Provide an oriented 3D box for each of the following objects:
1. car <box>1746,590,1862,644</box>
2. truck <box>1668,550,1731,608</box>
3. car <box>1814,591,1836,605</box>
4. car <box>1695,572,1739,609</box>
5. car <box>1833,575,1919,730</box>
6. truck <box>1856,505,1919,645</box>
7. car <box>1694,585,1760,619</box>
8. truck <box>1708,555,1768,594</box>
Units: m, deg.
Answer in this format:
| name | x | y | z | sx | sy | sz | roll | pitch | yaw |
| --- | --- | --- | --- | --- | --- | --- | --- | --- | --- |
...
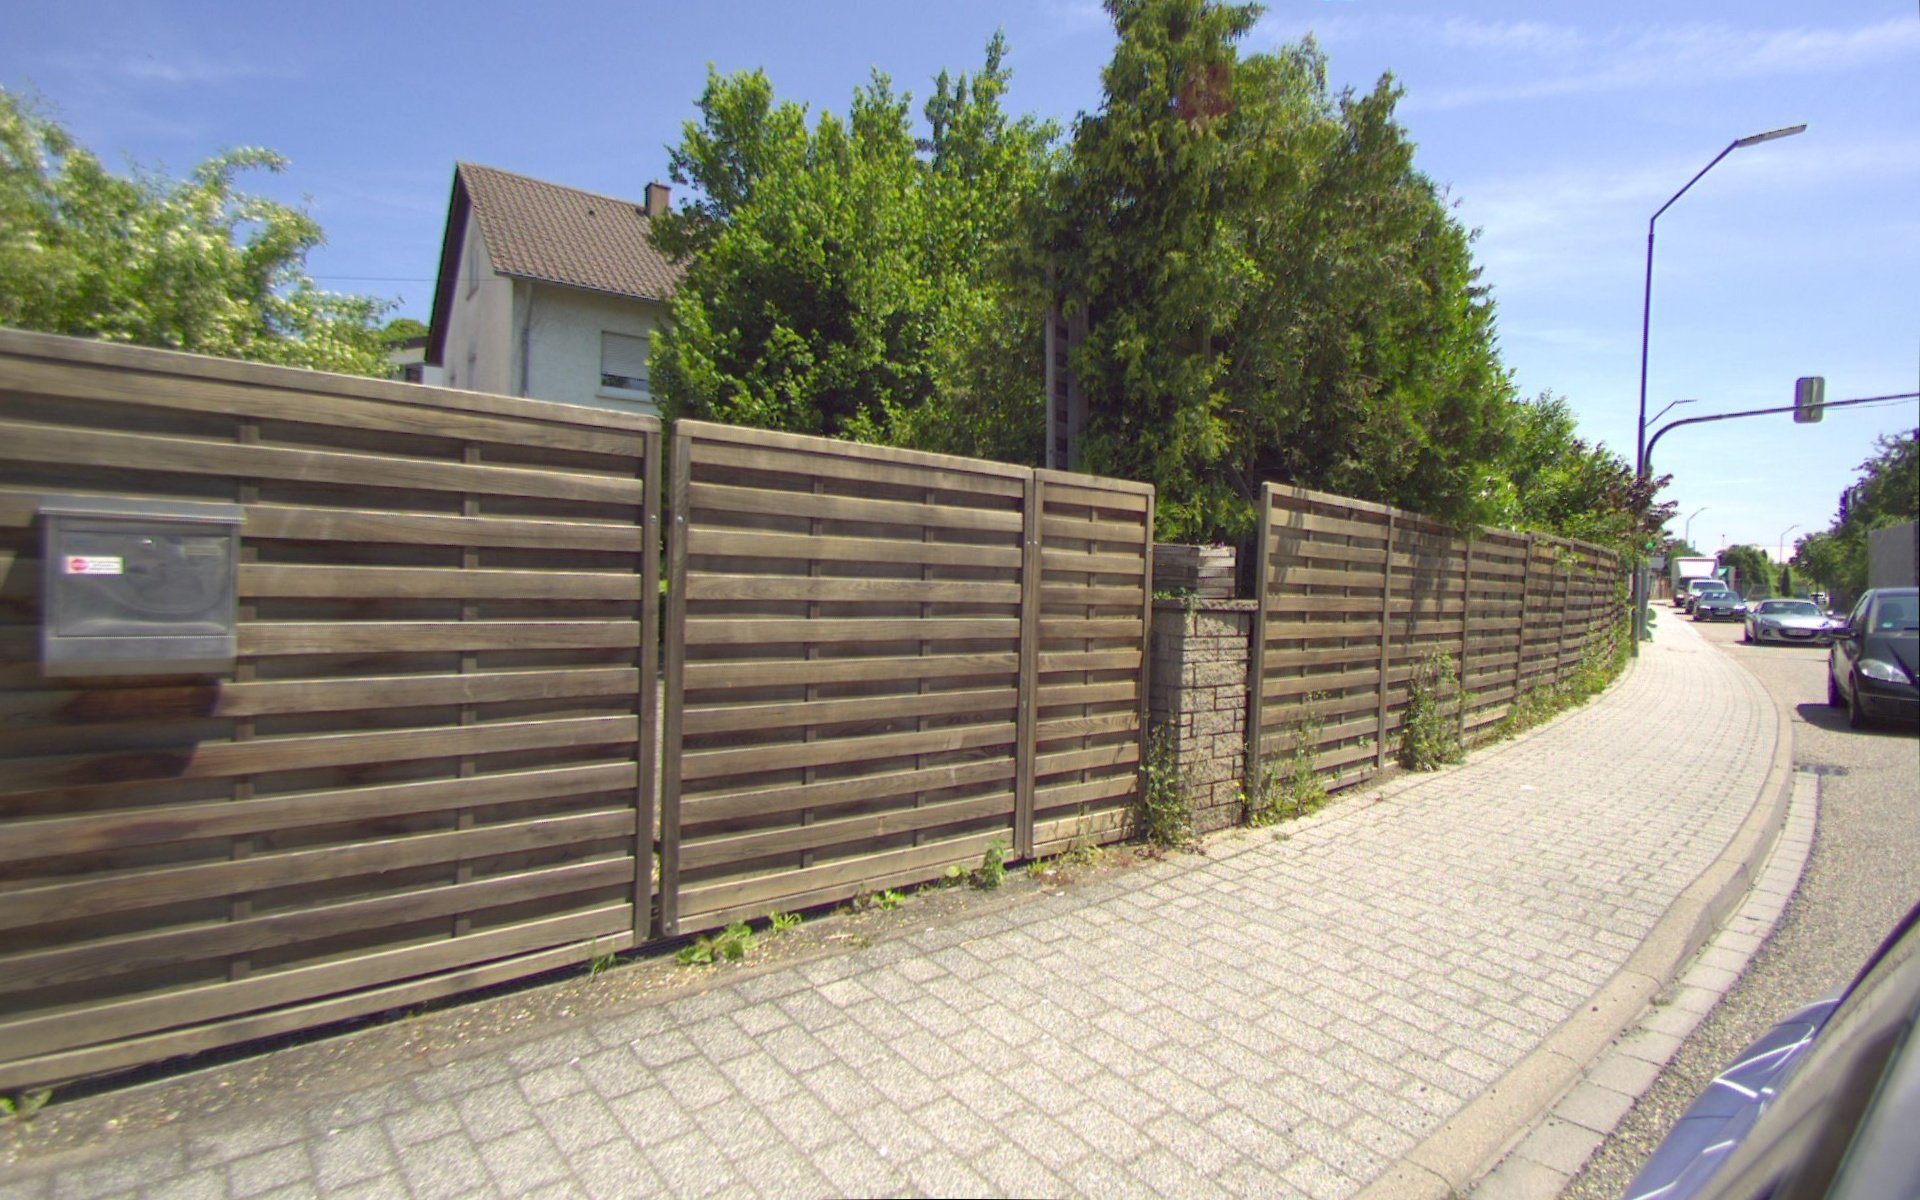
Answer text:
| name | x | y | z | sx | sy | sz | roll | pitch | yaw |
| --- | --- | --- | --- | --- | --- | --- | --- | --- | --- |
| car | 22.798 | 0.417 | 27.480 | 1.800 | 1.330 | 3.956 | 1 | 1 | 31 |
| truck | 51.894 | -1.474 | 71.092 | 3.188 | 3.642 | 8.199 | 6 | 4 | 36 |
| car | 96.119 | -0.244 | 112.466 | 1.820 | 1.544 | 3.506 | 1 | 1 | 40 |
| car | 41.478 | -0.498 | 55.456 | 1.858 | 1.932 | 4.970 | 0 | 0 | 37 |
| car | 11.633 | 0.528 | 11.925 | 1.756 | 1.612 | 4.142 | 0 | 1 | 37 |
| truck | 26.433 | -0.662 | 27.086 | 2.456 | 3.410 | 7.527 | -2 | 0 | 33 |
| car | 33.837 | 0.057 | 44.752 | 1.883 | 1.393 | 3.956 | 1 | 1 | 31 |
| truck | 70.720 | -2.322 | 92.152 | 2.830 | 3.271 | 8.084 | 5 | 4 | 28 |
